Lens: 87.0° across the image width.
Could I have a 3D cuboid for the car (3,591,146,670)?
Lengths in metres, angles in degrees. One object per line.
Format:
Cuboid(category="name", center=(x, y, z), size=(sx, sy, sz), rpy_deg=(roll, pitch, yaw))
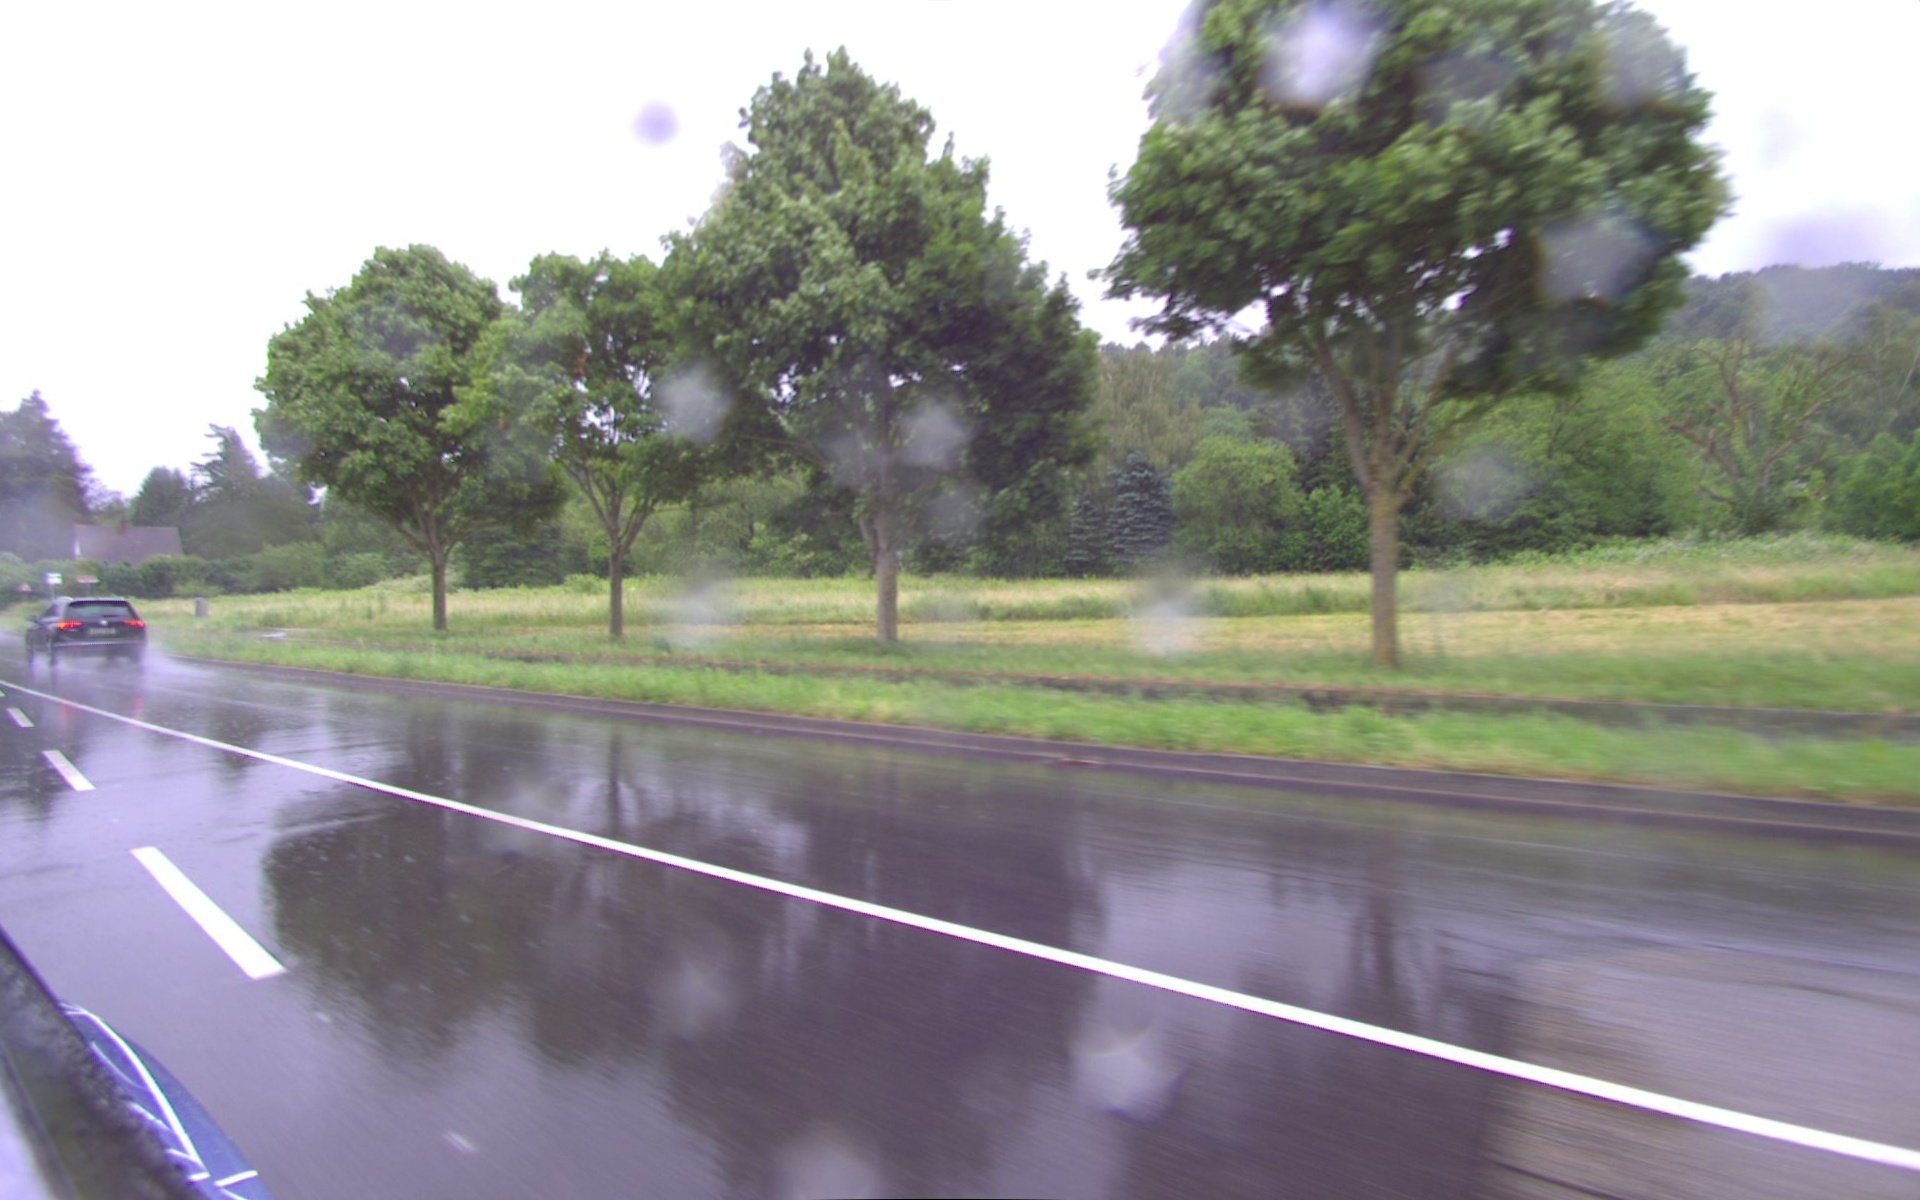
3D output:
Cuboid(category="car", center=(-21.679, 0.684, 24.735), size=(4.283, 1.756, 1.906), rpy_deg=(0, 0, 38))
